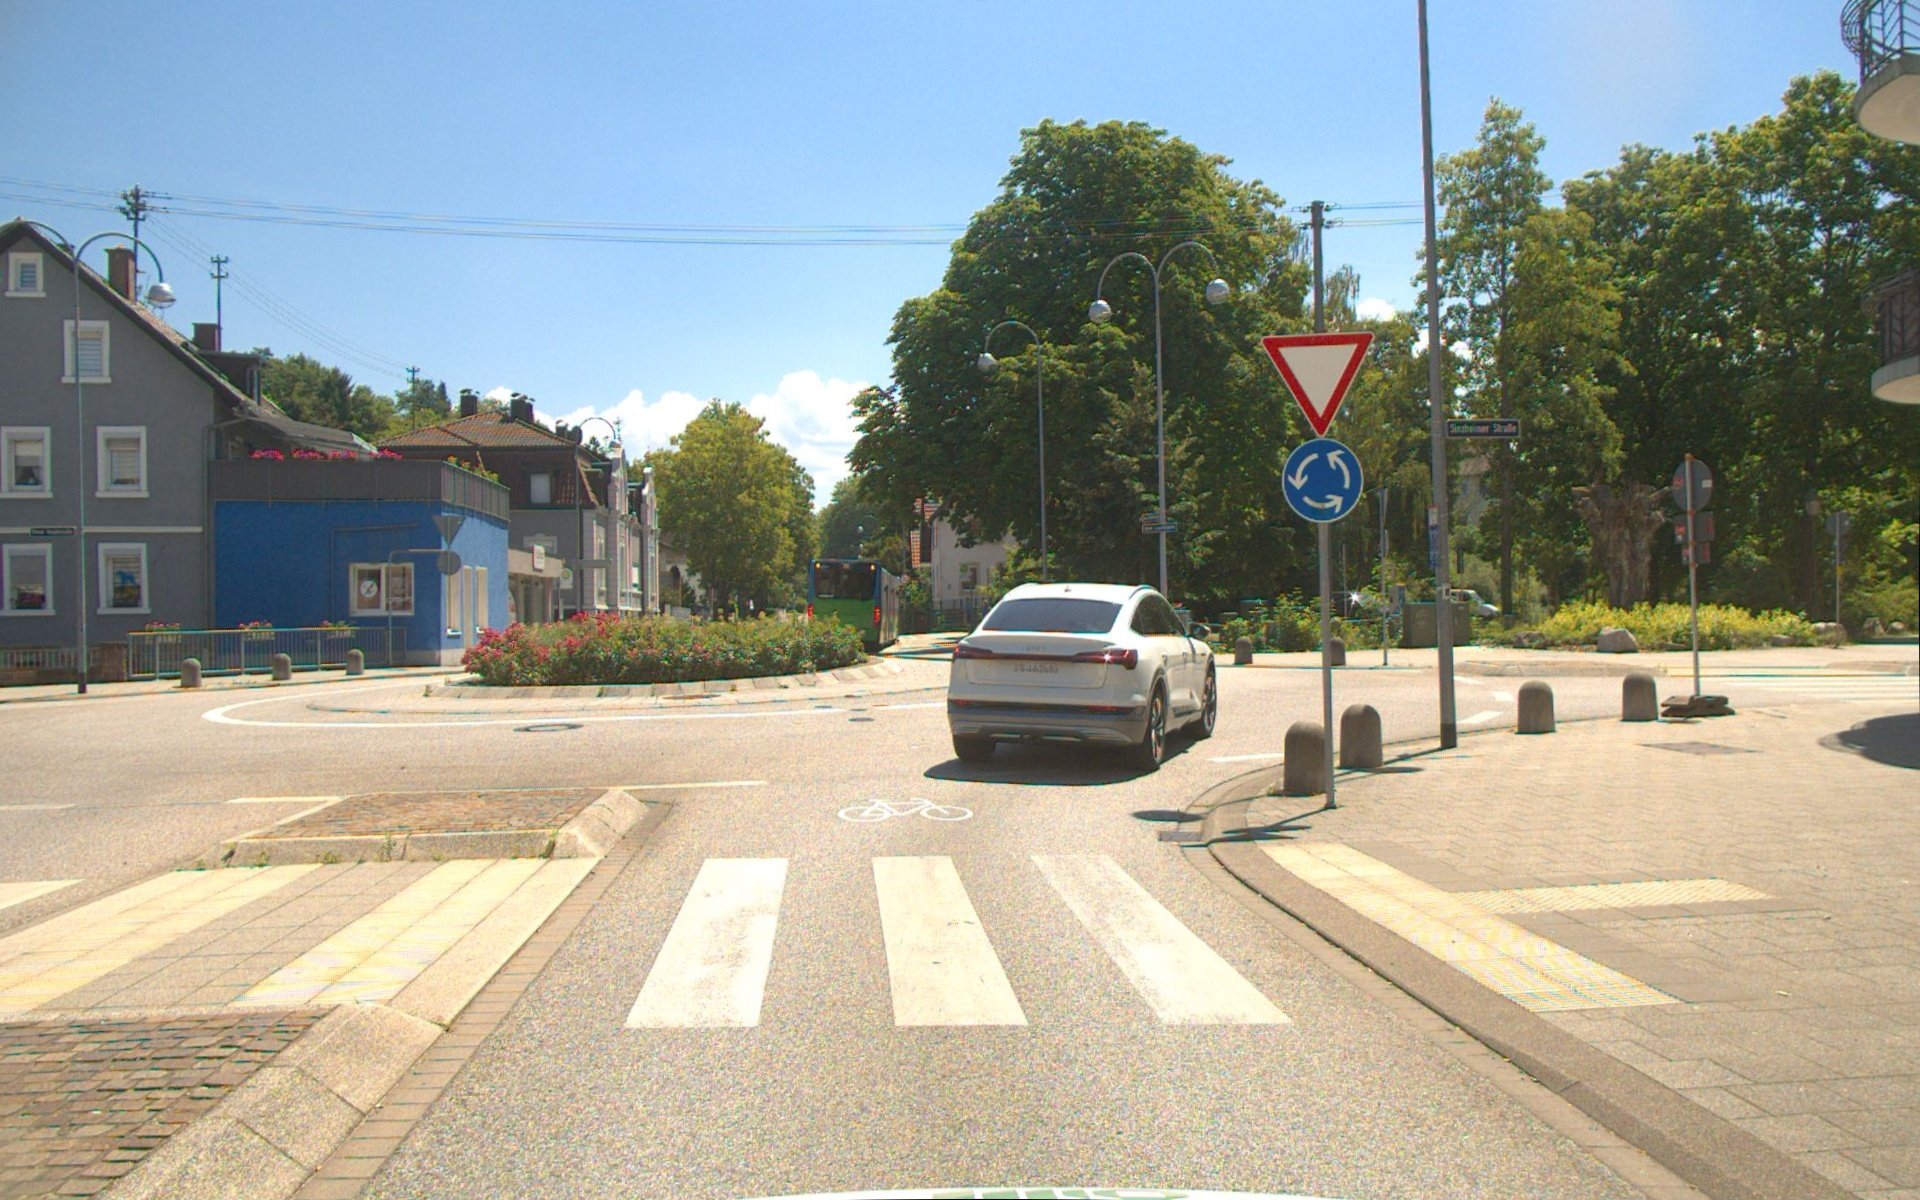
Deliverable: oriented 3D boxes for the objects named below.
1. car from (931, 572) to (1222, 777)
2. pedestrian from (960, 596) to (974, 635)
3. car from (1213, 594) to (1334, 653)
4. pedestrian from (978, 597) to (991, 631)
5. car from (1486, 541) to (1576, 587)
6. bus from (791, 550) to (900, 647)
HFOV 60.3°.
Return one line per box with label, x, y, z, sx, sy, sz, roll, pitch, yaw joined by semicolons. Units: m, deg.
car;1.309;0.597;16.300;1.858;1.691;4.412;1;1;18
pedestrian;0.309;0.687;72.850;0.493;1.679;0.578;-1;0;-9
car;9.026;0.663;47.639;3.001;1.580;1.626;-1;0;-17
pedestrian;1.087;0.624;74.215;0.480;1.548;0.541;-1;0;-9
car;27.040;-1.694;78.325;3.906;2.049;2.000;-1;0;23
bus;-4.194;0.047;64.781;3.632;3.227;18.060;1;-1;-2
